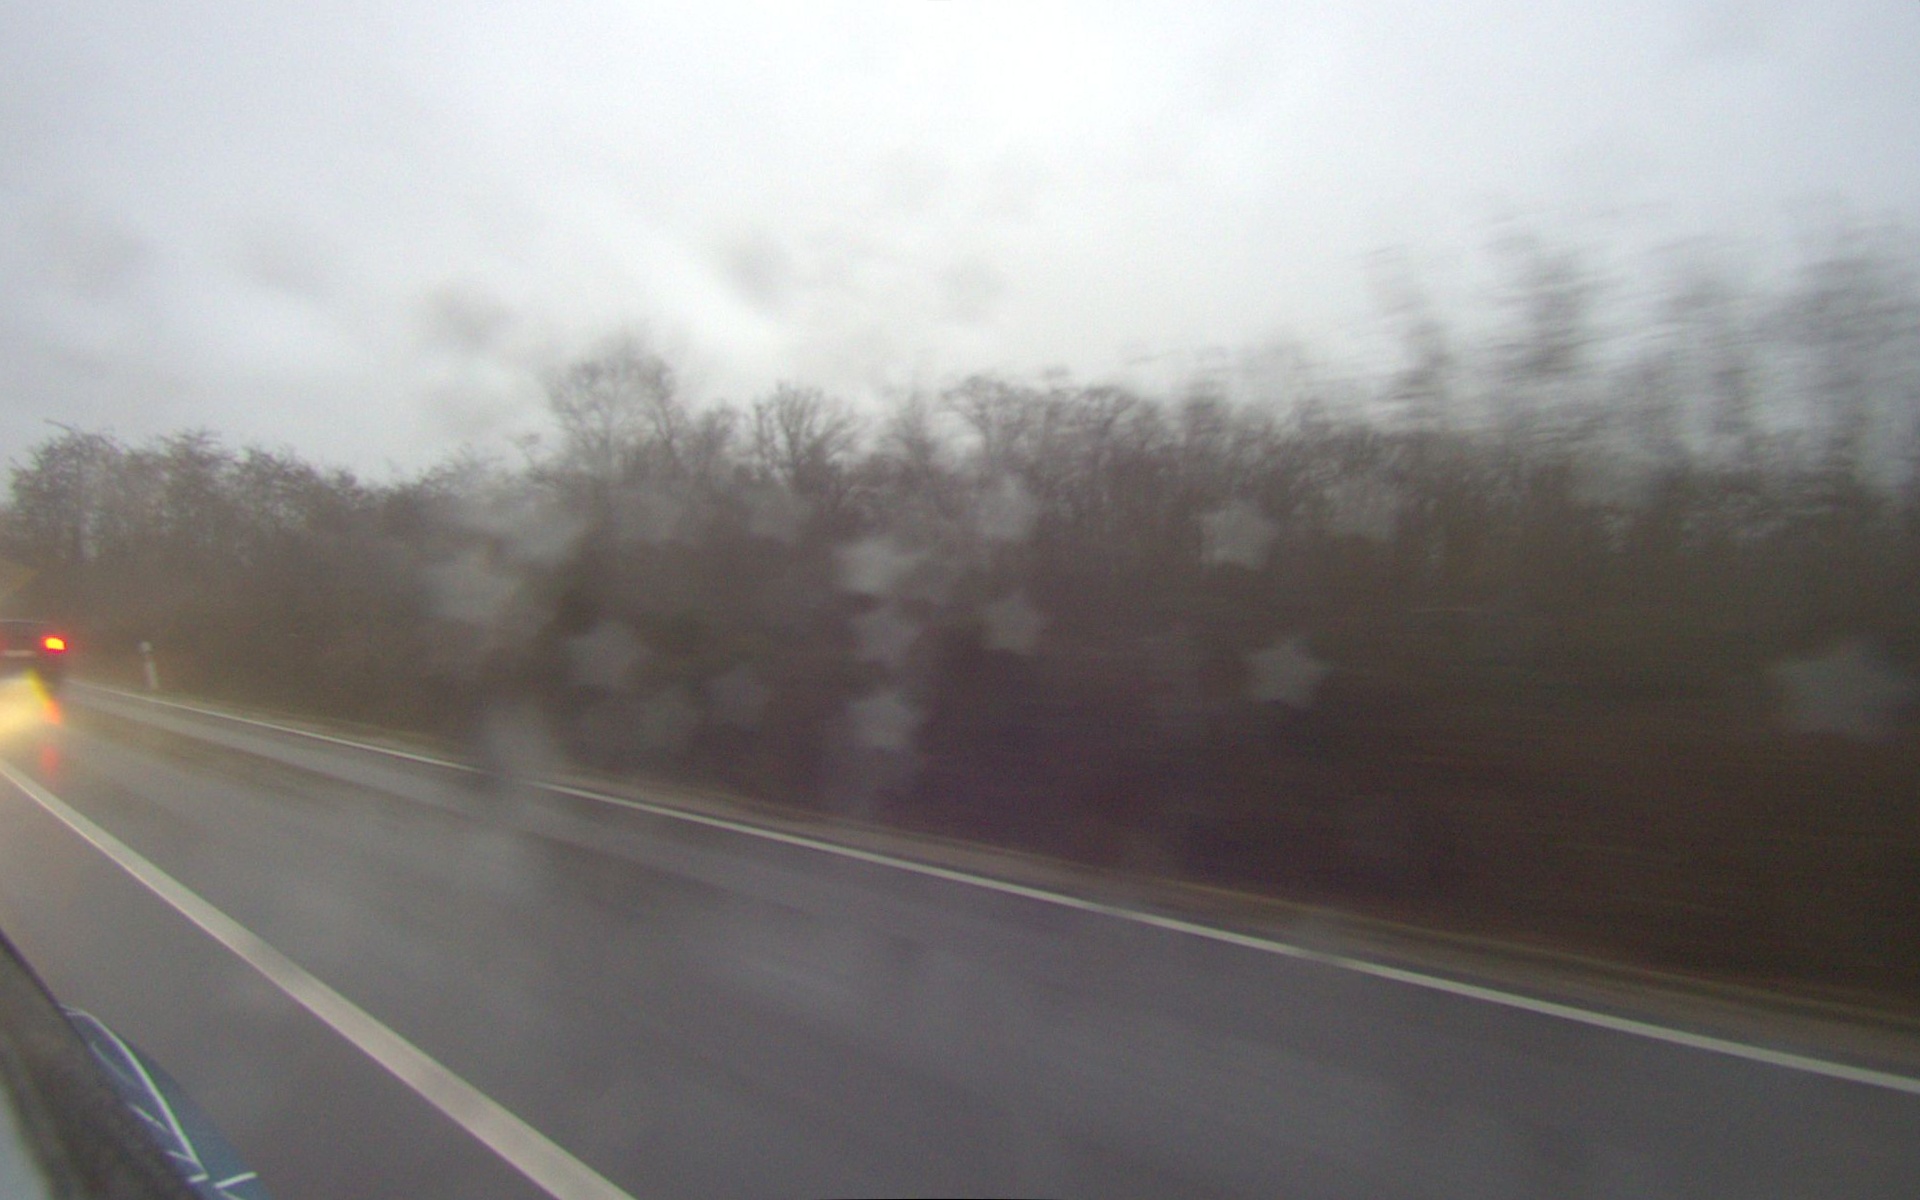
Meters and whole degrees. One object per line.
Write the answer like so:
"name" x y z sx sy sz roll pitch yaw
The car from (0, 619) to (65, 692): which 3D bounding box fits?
"car" -22.577 1.270 23.739 3.997 1.610 1.749 -1 -4 40
